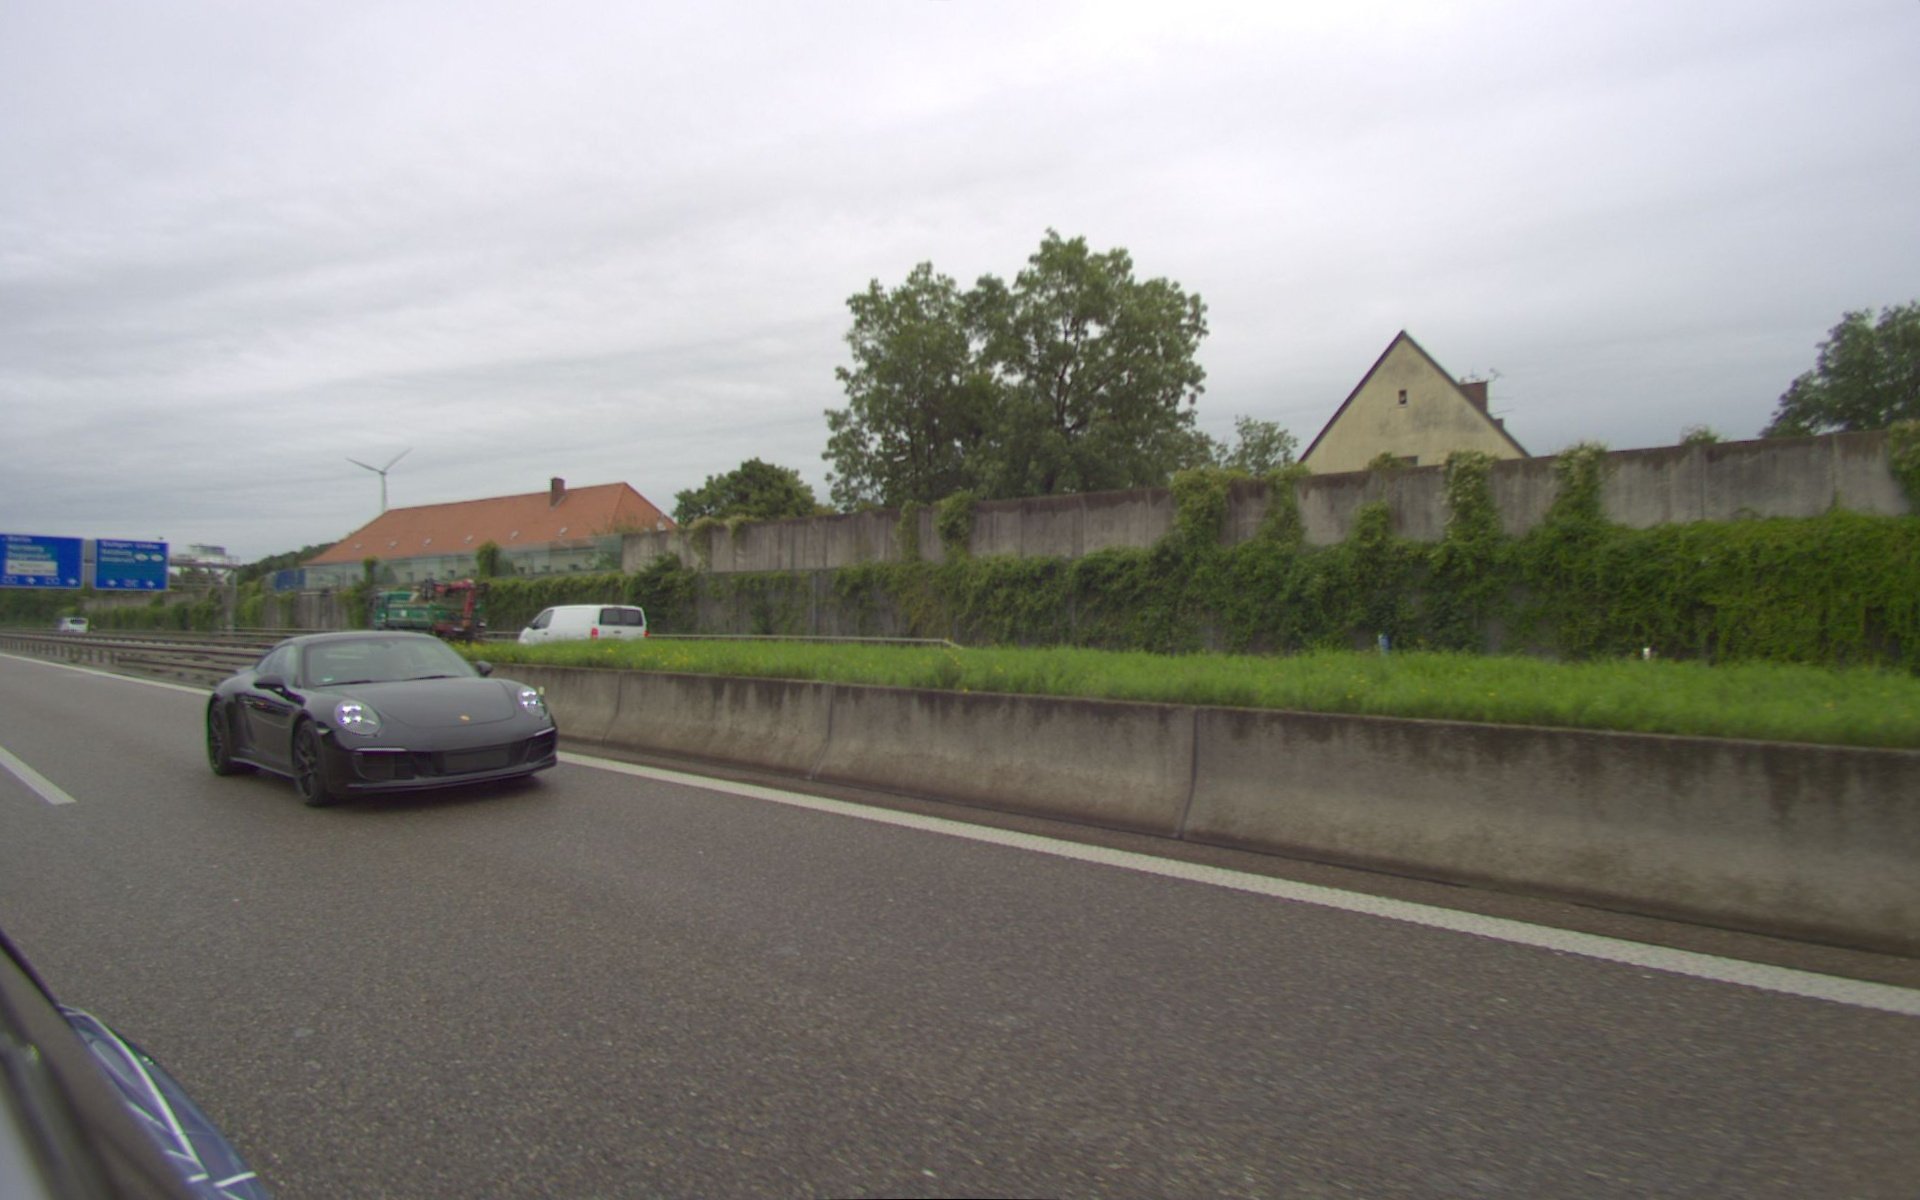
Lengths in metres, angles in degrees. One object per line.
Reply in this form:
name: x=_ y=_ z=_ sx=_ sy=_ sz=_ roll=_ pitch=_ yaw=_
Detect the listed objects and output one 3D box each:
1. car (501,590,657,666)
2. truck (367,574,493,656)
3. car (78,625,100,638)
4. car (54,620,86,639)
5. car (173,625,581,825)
car: x=-11.266 y=0.801 z=29.722 sx=5.191 sy=2.029 sz=2.059 roll=-1 pitch=-1 yaw=40
truck: x=-26.784 y=0.724 z=50.922 sx=8.331 sy=3.805 sz=2.664 roll=-1 pitch=0 yaw=40
car: x=-117.383 y=4.223 z=136.375 sx=4.523 sy=1.564 sz=1.934 roll=-1 pitch=0 yaw=45
car: x=-96.844 y=3.183 z=110.053 sx=4.954 sy=2.029 sz=1.973 roll=-1 pitch=0 yaw=41
car: x=-5.454 y=0.909 z=9.121 sx=4.921 sy=1.281 sz=1.634 roll=-1 pitch=0 yaw=40
